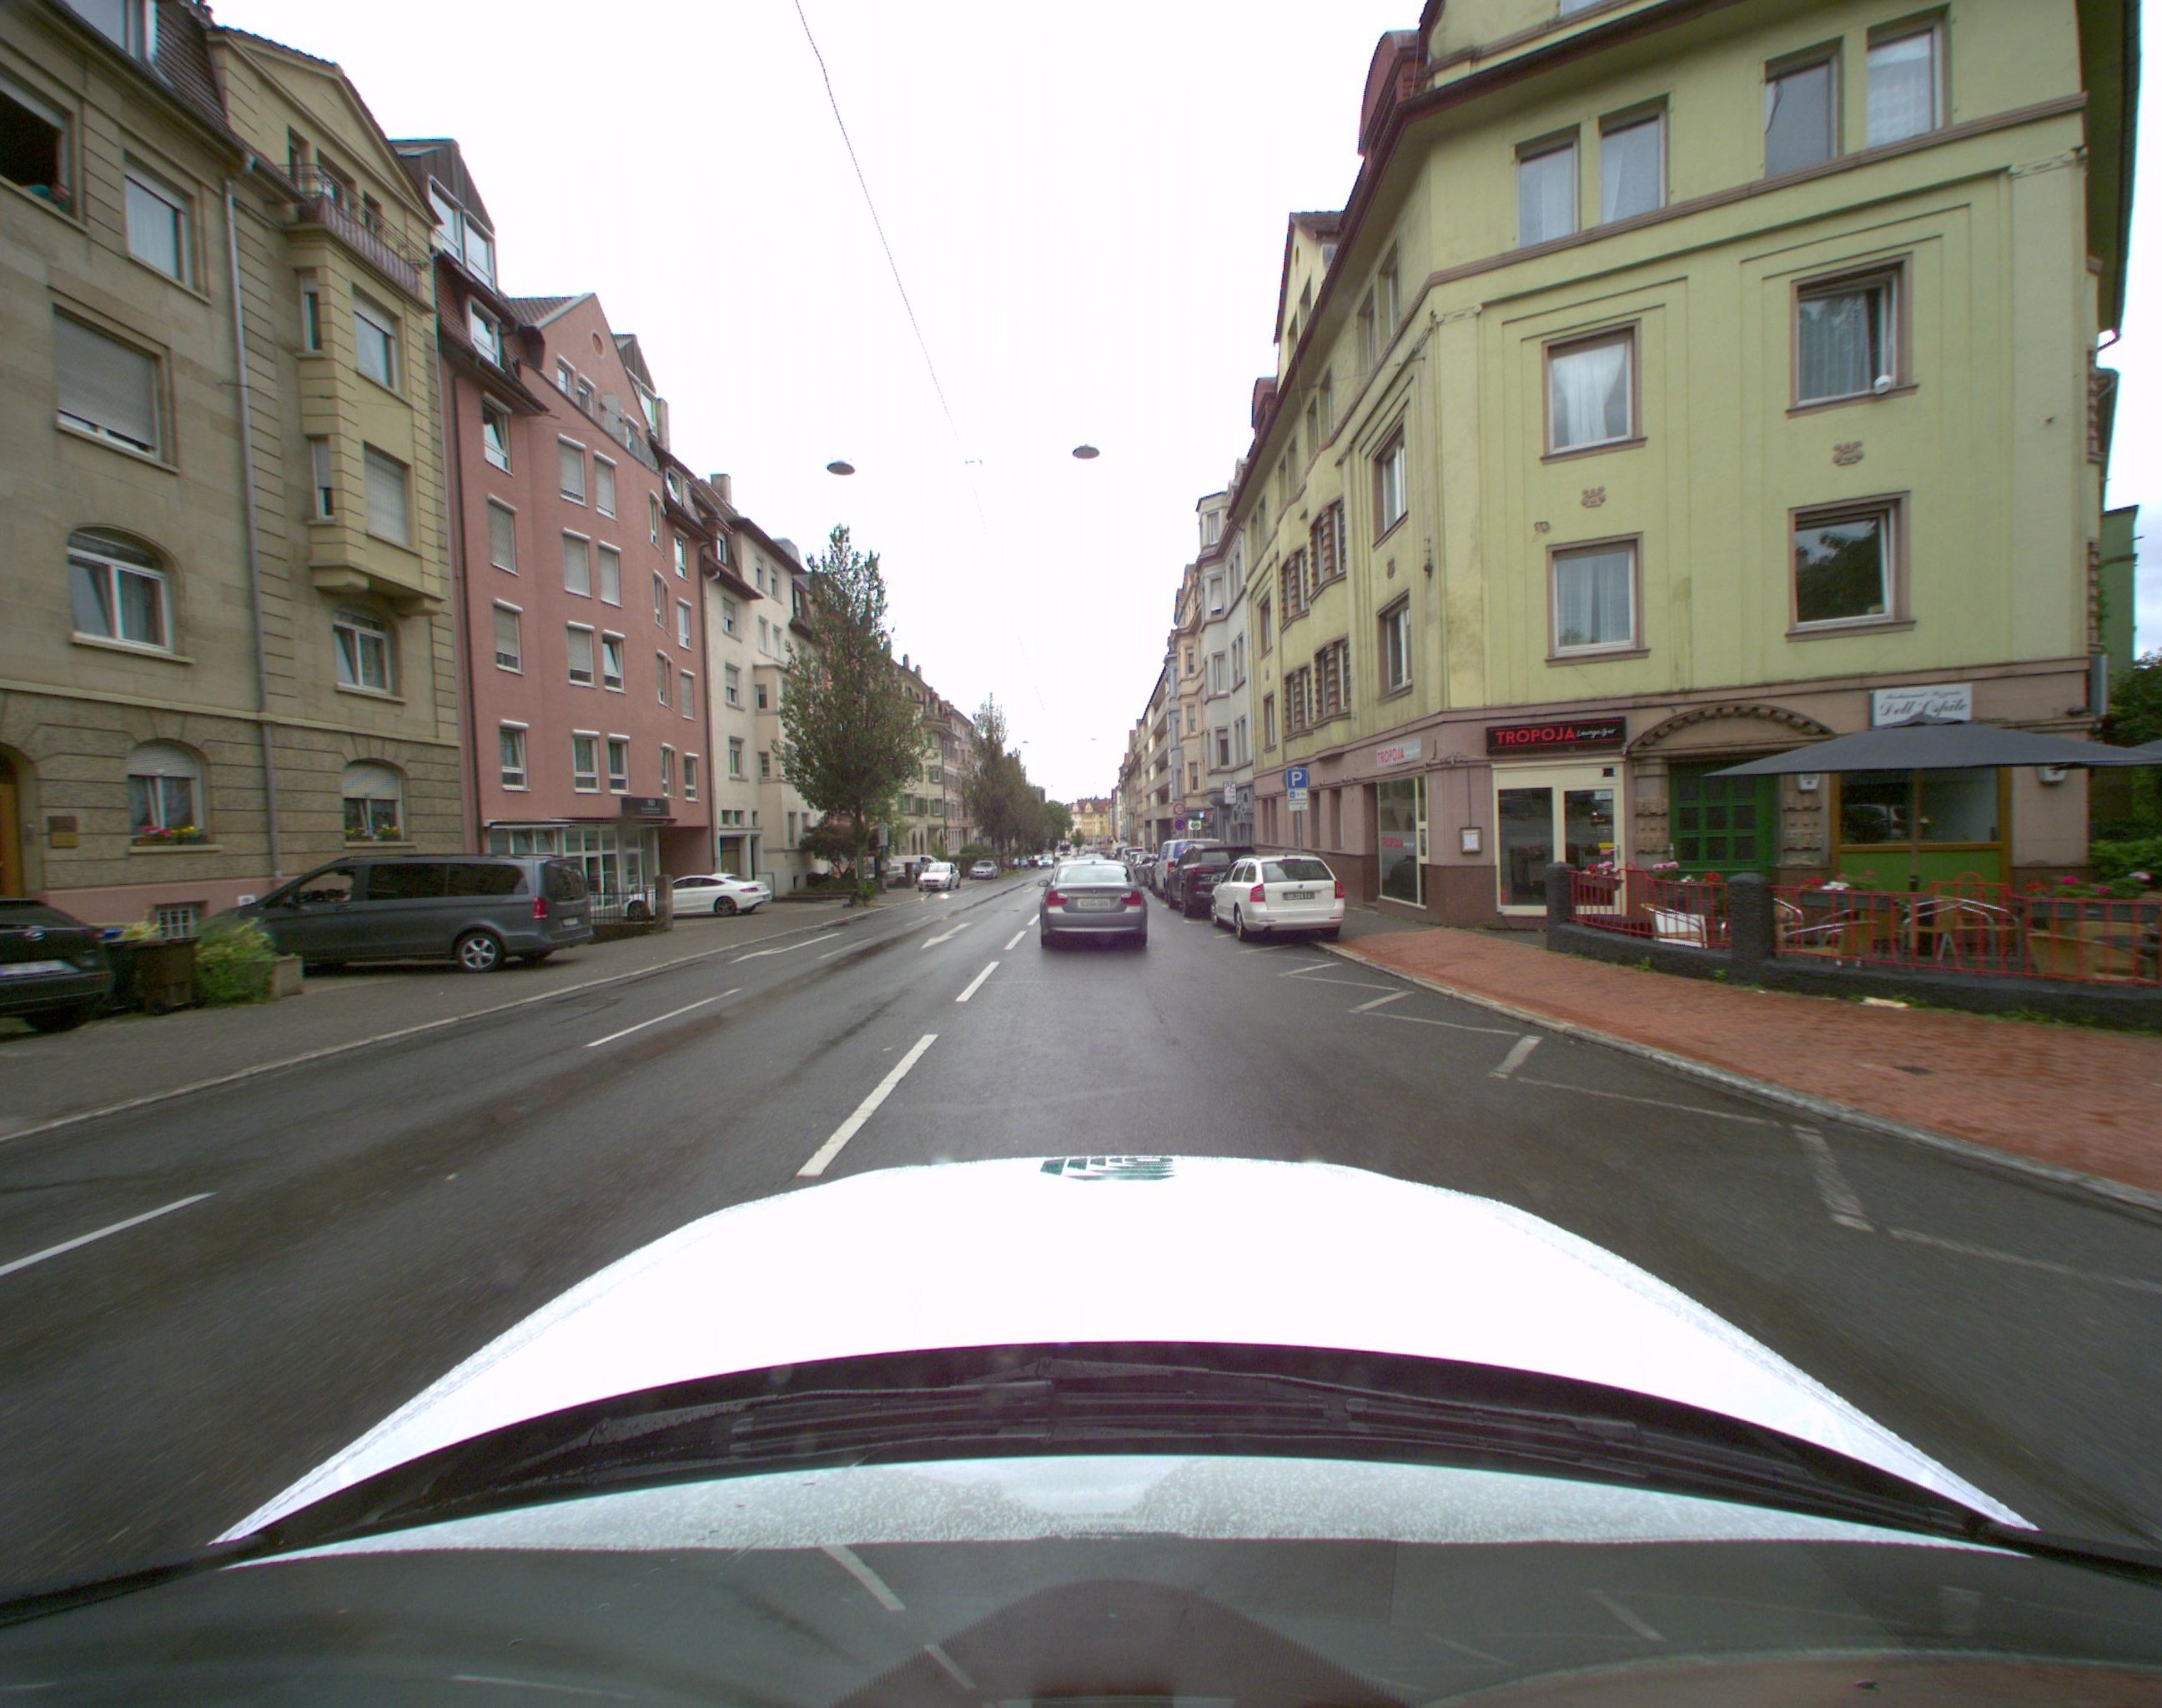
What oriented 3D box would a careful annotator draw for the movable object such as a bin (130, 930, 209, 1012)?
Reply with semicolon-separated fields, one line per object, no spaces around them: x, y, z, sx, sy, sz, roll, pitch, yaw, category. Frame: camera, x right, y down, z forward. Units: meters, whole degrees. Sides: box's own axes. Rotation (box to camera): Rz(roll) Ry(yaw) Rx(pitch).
-11.372;1.450;10.172;0.502;0.950;0.441;0;0;6;movable object such as a bin

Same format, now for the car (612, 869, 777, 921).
-12.661;1.327;26.862;4.533;1.401;1.767;-3;0;0;car

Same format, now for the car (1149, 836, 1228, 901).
3.404;0.440;26.688;1.913;1.827;5.009;-3;0;1;car

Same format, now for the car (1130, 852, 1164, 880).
3.585;0.646;44.996;1.606;1.474;4.016;-1;0;1;car

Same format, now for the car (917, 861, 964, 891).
-7.467;1.149;43.546;1.615;1.445;4.006;-2;0;2;car

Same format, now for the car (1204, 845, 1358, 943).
3.545;0.636;15.311;1.793;1.565;4.492;0;0;0;car

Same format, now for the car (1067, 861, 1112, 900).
0.371;1.026;32.468;1.675;1.428;3.742;0;0;2;car

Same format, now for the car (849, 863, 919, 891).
-11.962;1.366;49.747;3.878;1.457;1.788;-3;0;-7;car

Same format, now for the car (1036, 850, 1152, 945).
0.201;0.696;14.262;1.763;1.428;3.740;0;-1;0;car

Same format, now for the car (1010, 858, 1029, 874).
-6.874;1.355;91.693;1.761;1.593;3.999;-4;0;0;car

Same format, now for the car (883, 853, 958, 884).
-11.408;1.004;58.003;4.813;1.974;2.048;-3;0;0;car

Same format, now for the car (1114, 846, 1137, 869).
4.317;0.329;79.729;1.975;2.166;4.750;-3;0;1;car

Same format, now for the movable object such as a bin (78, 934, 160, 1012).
-11.913;1.463;10.091;0.502;0.904;0.441;0;0;6;movable object such as a bin

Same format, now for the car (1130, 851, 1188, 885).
3.565;0.627;38.189;1.872;1.467;4.765;-1;0;-5;car

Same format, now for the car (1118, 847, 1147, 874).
4.101;0.479;65.114;1.975;2.007;4.625;-3;0;1;car

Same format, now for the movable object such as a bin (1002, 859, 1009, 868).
-7.339;0.927;79.292;0.575;0.912;0.637;-3;0;-14;movable object such as a bin

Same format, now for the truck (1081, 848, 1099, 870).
1.000;0.548;91.917;2.025;2.412;4.826;0;-1;0;truck

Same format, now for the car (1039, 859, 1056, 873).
-3.875;1.360;95.544;1.630;1.508;3.755;-5;0;1;car

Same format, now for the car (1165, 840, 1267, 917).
3.291;0.546;20.724;1.872;1.731;4.677;0;0;1;car

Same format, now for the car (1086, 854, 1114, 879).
1.142;0.765;51.580;1.692;1.483;3.793;0;-1;0;car

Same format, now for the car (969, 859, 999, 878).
-7.472;1.108;63.060;1.720;1.484;3.990;0;-1;2;car

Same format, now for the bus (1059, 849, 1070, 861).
-4.392;0.354;221.133;2.659;3.024;7.671;-3;0;1;bus

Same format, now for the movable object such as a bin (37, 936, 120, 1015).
-12.474;1.499;10.140;0.502;0.904;0.441;0;0;6;movable object such as a bin

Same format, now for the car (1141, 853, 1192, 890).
3.406;0.676;33.154;1.671;1.375;4.276;-1;0;1;car

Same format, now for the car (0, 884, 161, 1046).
-12.558;1.147;8.325;4.133;1.510;1.873;-1;0;0;car

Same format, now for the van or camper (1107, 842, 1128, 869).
4.112;0.187;90.232;2.024;2.868;6.893;1;0;4;van or camper

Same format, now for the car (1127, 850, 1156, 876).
4.271;0.632;58.306;1.720;1.670;4.289;-4;0;1;car

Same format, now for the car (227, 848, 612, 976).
-10.776;0.872;13.651;4.673;1.938;1.857;0;0;-9;car

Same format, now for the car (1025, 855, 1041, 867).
-6.661;0.924;113.338;1.821;1.523;3.738;-4;0;2;car
